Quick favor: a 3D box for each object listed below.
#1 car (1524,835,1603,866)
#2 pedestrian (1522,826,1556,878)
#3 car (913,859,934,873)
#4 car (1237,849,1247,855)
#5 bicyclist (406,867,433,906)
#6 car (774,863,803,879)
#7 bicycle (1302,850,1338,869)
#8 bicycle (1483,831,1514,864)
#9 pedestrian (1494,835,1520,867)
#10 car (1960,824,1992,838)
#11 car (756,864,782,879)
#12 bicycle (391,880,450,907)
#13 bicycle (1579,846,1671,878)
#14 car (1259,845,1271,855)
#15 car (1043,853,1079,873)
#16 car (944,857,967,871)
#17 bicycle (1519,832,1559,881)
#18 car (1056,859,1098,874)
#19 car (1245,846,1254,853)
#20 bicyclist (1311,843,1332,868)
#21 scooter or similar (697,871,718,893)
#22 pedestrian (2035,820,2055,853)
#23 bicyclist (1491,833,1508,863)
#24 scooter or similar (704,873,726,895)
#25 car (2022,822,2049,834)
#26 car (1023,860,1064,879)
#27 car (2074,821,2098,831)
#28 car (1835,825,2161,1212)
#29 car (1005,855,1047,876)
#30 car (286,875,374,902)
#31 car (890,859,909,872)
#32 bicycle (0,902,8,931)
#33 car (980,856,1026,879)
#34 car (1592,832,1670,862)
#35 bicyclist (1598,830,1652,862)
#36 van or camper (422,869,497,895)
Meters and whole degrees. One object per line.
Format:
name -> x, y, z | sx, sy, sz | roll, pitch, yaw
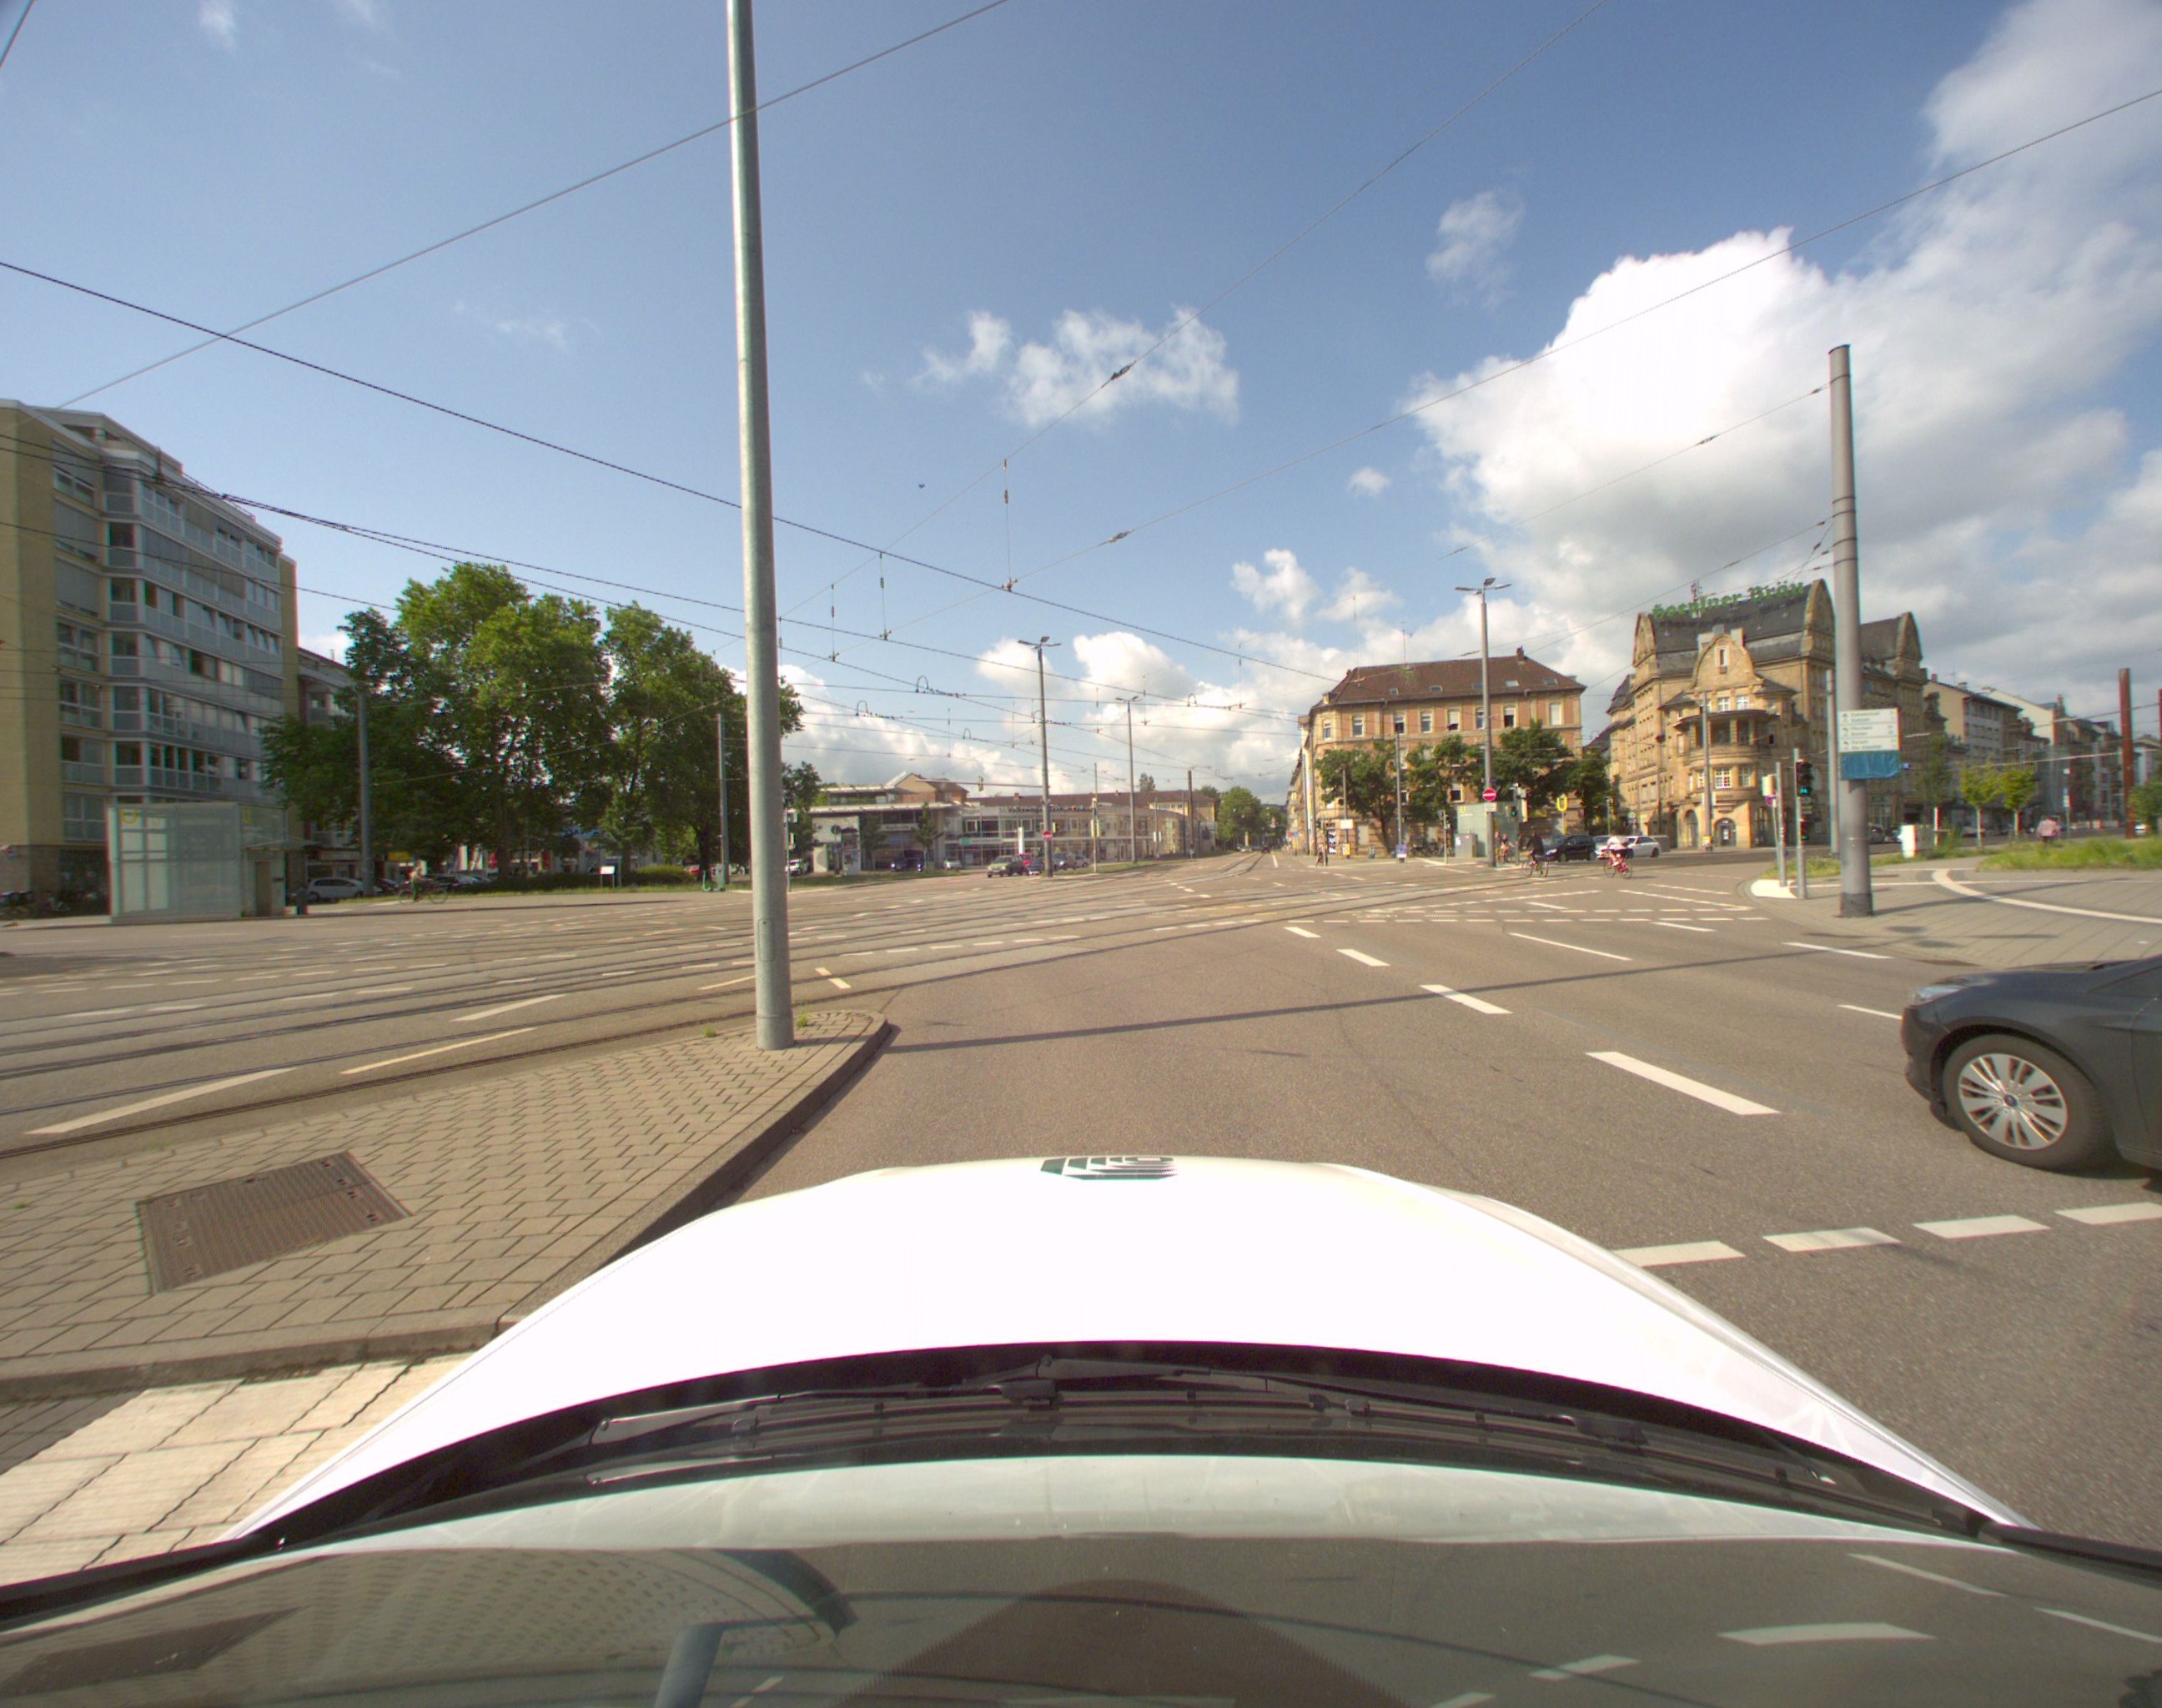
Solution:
car -> 27.793, -0.192, 46.911 | 4.353, 1.739, 1.981 | 0, -1, -29
pedestrian -> 16.772, -0.070, 29.839 | 0.983, 1.841, 1.002 | -1, -1, 24
car -> -17.579, 1.304, 90.869 | 1.917, 1.445, 3.991 | -2, 0, -6
car -> 36.460, -0.478, 184.253 | 1.982, 1.332, 4.011 | -2, 0, 9
bicyclist -> -30.518, 1.502, 37.577 | 0.831, 1.745, 0.705 | 0, -1, -31
car -> -32.679, 1.900, 91.192 | 2.065, 1.604, 3.992 | -2, 0, -6
bicycle -> 16.448, 0.390, 55.954 | 2.692, 1.170, 0.891 | -3, 0, -36
bicycle -> 22.863, -0.339, 44.632 | 0.728, 1.777, 1.634 | -1, 0, -5
pedestrian -> 23.934, -0.167, 45.764 | 0.866, 1.810, 0.883 | -1, -1, -14
car -> 107.415, -2.798, 97.691 | 3.834, 1.538, 1.833 | -2, 0, -31
car -> -34.956, 1.937, 91.300 | 1.993, 1.574, 3.986 | -1, 0, -10
bicycle -> -30.466, 1.817, 37.588 | 1.998, 1.127, 0.782 | -1, -1, -30
bicycle -> 18.673, 0.311, 28.083 | 0.990, 1.028, 3.106 | 0, -2, -2
car -> 35.799, -0.779, 158.677 | 1.978, 2.013, 4.018 | -2, 0, 17
car -> -1.670, 0.741, 68.871 | 1.979, 1.552, 4.015 | -2, 0, 14
car -> -14.283, 1.118, 92.930 | 1.913, 1.552, 3.999 | -2, 0, 0
bicycle -> 16.834, 0.077, 29.979 | 0.996, 1.725, 2.482 | -1, 0, 23
car -> -0.386, 1.276, 85.019 | 1.759, 1.464, 4.508 | -1, 0, 44
car -> 40.940, -1.081, 198.014 | 1.981, 1.491, 4.012 | -2, 0, 11
bicyclist -> 16.573, 0.130, 56.041 | 1.203, 1.658, 0.777 | -3, 0, -36
scooter or similar -> -20.105, 1.530, 43.839 | 0.377, 1.157, 0.935 | 3, 1, 44
pedestrian -> 44.555, -0.808, 37.639 | 0.501, 1.505, 0.501 | -2, 0, -36
bicyclist -> 22.882, -0.327, 44.537 | 0.571, 1.671, 0.655 | -1, -1, -5
scooter or similar -> -19.583, 1.608, 43.581 | 0.377, 1.157, 0.935 | 3, 1, 33
car -> 132.555, -3.600, 113.133 | 3.834, 1.538, 1.833 | -2, 0, -31
car -> -2.472, 1.025, 54.628 | 1.609, 1.161, 4.015 | -1, 0, 14
car -> 159.593, -4.465, 129.276 | 3.834, 1.538, 1.833 | -2, 0, -31
car -> 5.315, 0.664, 2.585 | 1.763, 1.528, 4.252 | -3, 0, -2
car -> -4.095, 0.849, 61.453 | 1.979, 1.519, 4.015 | -1, 0, 14
car -> -47.662, 2.178, 51.797 | 3.574, 1.530, 1.987 | -1, 0, -20
car -> -20.271, 1.276, 91.093 | 1.921, 1.445, 3.984 | -2, 0, -11
bicycle -> -47.671, 2.683, 35.159 | 1.642, 1.272, 0.485 | 3, -2, -14
car -> -5.244, 0.874, 55.201 | 1.807, 1.513, 4.015 | -1, 0, 14
car -> 33.657, -0.407, 49.844 | 4.698, 1.595, 1.981 | -3, 1, -29
bicyclist -> 18.675, -0.279, 27.990 | 0.988, 1.028, 1.214 | 0, -3, -2
van or camper -> -64.024, 2.872, 83.959 | 5.858, 2.469, 2.392 | -1, 0, -1
